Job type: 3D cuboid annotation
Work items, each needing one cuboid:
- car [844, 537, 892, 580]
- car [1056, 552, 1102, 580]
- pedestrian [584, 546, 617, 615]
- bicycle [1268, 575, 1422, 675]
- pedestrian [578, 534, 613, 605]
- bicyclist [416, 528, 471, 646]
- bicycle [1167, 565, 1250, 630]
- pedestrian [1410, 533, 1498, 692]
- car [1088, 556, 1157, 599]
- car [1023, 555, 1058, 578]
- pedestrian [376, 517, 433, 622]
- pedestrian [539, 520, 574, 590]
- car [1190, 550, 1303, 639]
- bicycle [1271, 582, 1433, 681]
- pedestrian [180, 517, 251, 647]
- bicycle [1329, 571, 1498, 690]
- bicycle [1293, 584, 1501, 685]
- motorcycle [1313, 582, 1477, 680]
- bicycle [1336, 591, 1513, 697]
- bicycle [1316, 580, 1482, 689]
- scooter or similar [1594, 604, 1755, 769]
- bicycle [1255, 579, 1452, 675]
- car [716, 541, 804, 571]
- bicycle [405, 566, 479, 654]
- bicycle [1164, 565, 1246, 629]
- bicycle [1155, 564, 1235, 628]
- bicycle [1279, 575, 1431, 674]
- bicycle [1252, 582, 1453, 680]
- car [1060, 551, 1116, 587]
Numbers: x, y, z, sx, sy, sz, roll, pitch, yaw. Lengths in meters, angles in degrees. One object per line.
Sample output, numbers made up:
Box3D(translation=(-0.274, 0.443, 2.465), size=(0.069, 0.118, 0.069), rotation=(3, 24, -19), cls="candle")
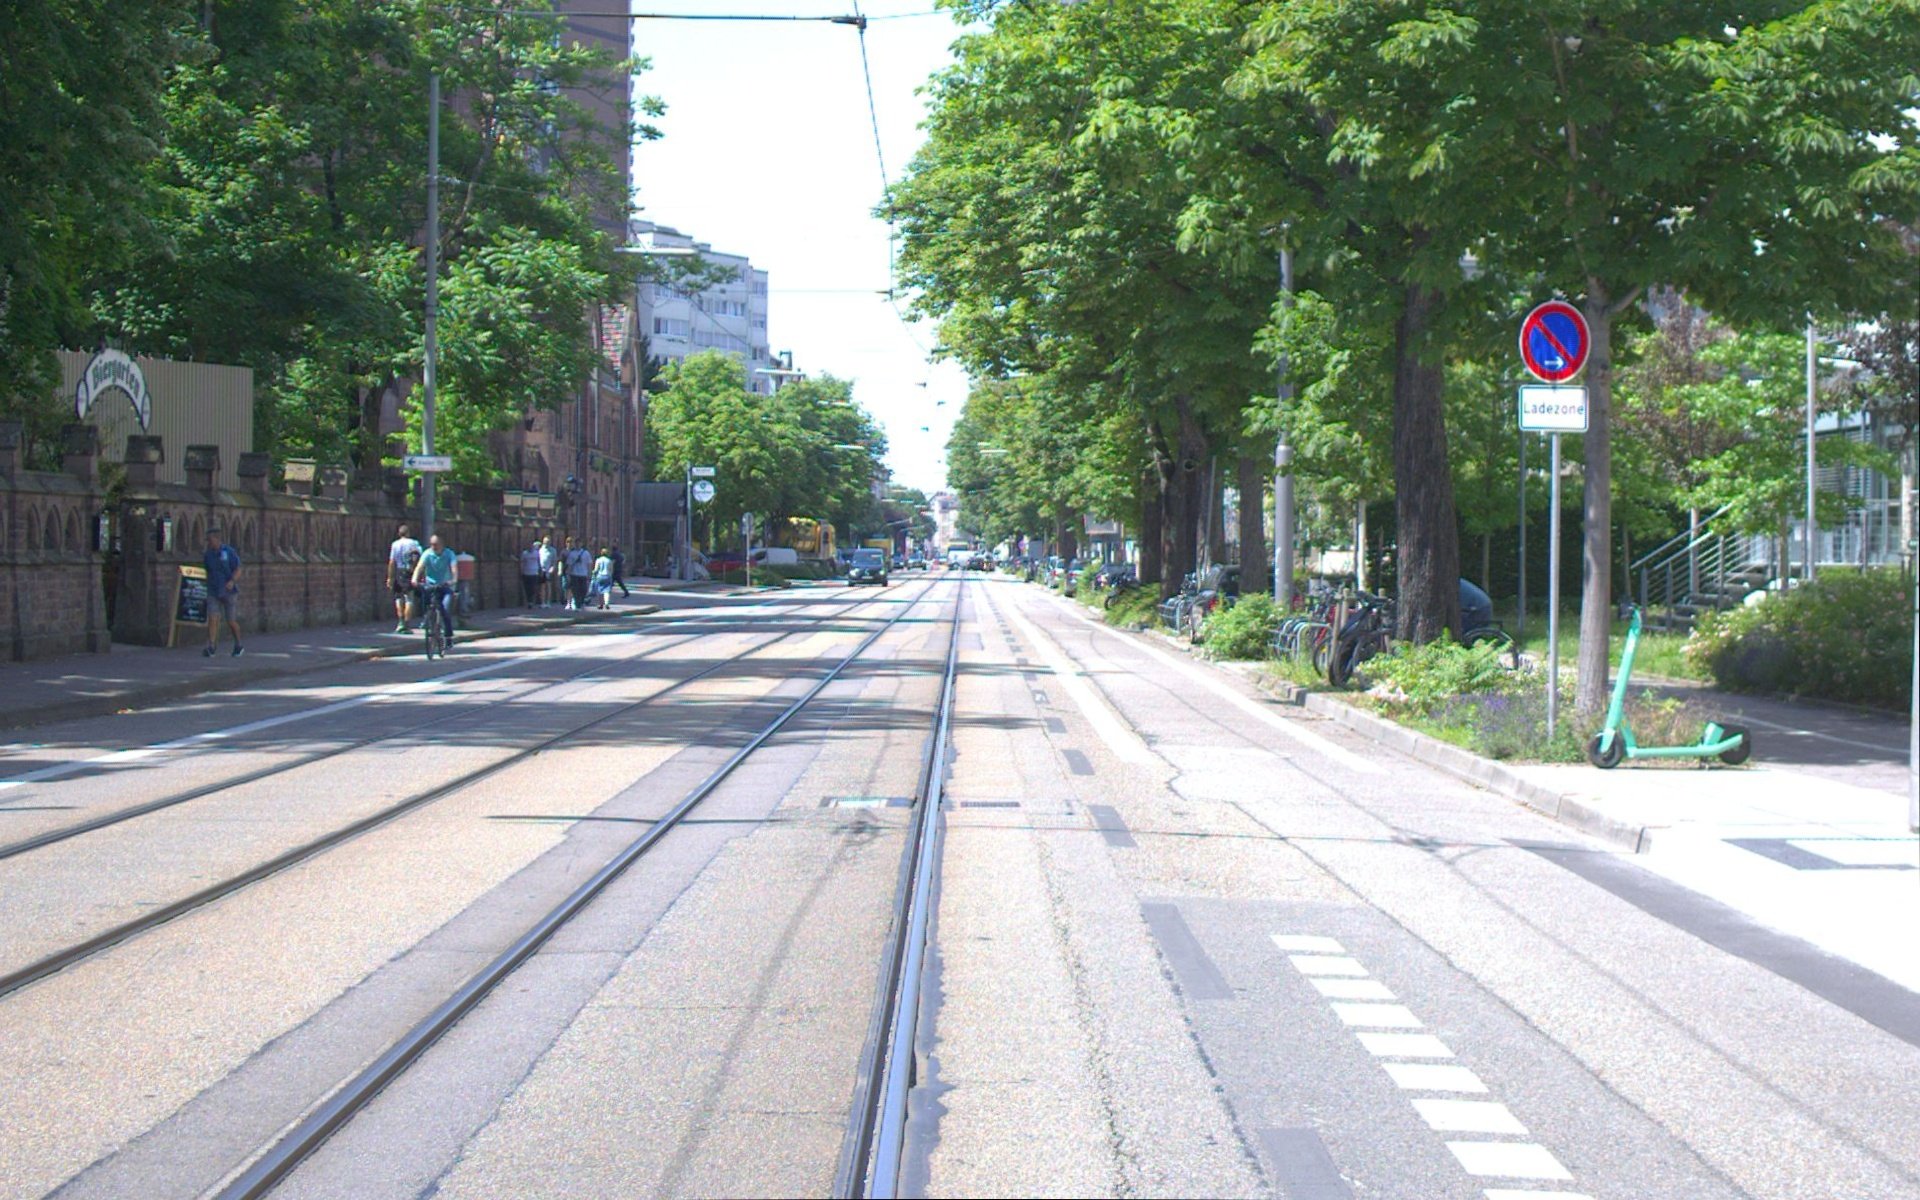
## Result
Box3D(translation=(-4.344, -1.972, 162.709), size=(1.994, 2.007, 4.000), rotation=(1, 1, 3), cls="car")
Box3D(translation=(5.589, -1.620, 161.962), size=(1.993, 1.305, 4.000), rotation=(1, 1, 0), cls="car")
Box3D(translation=(-9.189, -0.503, 87.961), size=(0.743, 1.722, 0.867), rotation=(1, 1, -1), cls="pedestrian")
Box3D(translation=(4.620, 0.296, 41.297), size=(1.752, 1.161, 0.530), rotation=(1, 1, -2), cls="bicycle")
Box3D(translation=(-8.948, -0.744, 84.420), size=(0.743, 1.722, 0.867), rotation=(1, 1, 0), cls="pedestrian")
Box3D(translation=(-7.407, -0.193, 49.341), size=(0.642, 1.674, 0.815), rotation=(0, 1, 1), cls="bicyclist")
Box3D(translation=(4.798, -0.043, 66.421), size=(1.564, 1.237, 0.437), rotation=(1, 1, 2), cls="bicycle")
Box3D(translation=(5.370, 0.127, 37.351), size=(0.584, 1.709, 0.796), rotation=(1, 1, 43), cls="pedestrian")
Box3D(translation=(5.160, -0.732, 109.779), size=(1.993, 1.305, 4.000), rotation=(1, 1, 0), cls="car")
Box3D(translation=(4.798, -2.005, 205.815), size=(1.993, 1.305, 4.000), rotation=(1, 1, 0), cls="car")
Box3D(translation=(-9.530, -0.529, 58.995), size=(0.814, 1.764, 0.924), rotation=(1, 1, 0), cls="pedestrian")
Box3D(translation=(-10.085, -1.131, 86.017), size=(0.743, 1.722, 0.867), rotation=(1, 1, 0), cls="pedestrian")
Box3D(translation=(5.013, -0.121, 60.517), size=(1.634, 1.496, 4.000), rotation=(1, 1, 0), cls="car")
Box3D(translation=(4.919, 0.388, 43.234), size=(1.997, 1.205, 0.662), rotation=(1, 1, 5), cls="bicycle")
Box3D(translation=(-10.071, -0.250, 46.531), size=(0.743, 1.722, 0.867), rotation=(1, 1, 0), cls="pedestrian")
Box3D(translation=(4.969, 0.334, 37.718), size=(1.752, 1.266, 0.530), rotation=(1, 1, -2), cls="bicycle")
Box3D(translation=(5.380, 0.421, 42.445), size=(2.511, 1.205, 0.648), rotation=(1, 1, 5), cls="bicycle")
Box3D(translation=(5.031, 0.350, 39.840), size=(1.824, 1.106, 0.598), rotation=(0, 1, 1), cls="motorcycle")
Box3D(translation=(4.931, 0.466, 36.554), size=(1.788, 1.098, 0.532), rotation=(1, 1, -1), cls="bicycle")
Box3D(translation=(4.884, 0.381, 38.275), size=(1.752, 1.161, 0.530), rotation=(1, 1, -2), cls="bicycle")
Box3D(translation=(5.082, 0.613, 24.479), size=(1.058, 1.152, 0.370), rotation=(-1, 1, 1), cls="scooter or similar")
Box3D(translation=(5.099, 0.348, 44.655), size=(2.511, 1.205, 0.741), rotation=(1, 1, 5), cls="bicycle")
Box3D(translation=(-11.639, -2.548, 200.296), size=(4.728, 1.711, 2.000), rotation=(0, 1, -27), cls="car")
Box3D(translation=(-7.407, 0.124, 49.243), size=(0.701, 1.200, 2.240), rotation=(-1, 1, 0), cls="bicycle")
Box3D(translation=(4.769, -0.060, 66.925), size=(1.564, 1.237, 0.437), rotation=(1, 1, 2), cls="bicycle")
Box3D(translation=(4.652, -0.084, 68.038), size=(1.564, 1.237, 0.437), rotation=(1, 1, 2), cls="bicycle")
Box3D(translation=(4.801, 0.295, 41.797), size=(1.752, 1.161, 0.530), rotation=(1, 1, -2), cls="bicycle")
Box3D(translation=(5.005, 0.388, 43.931), size=(2.511, 1.205, 0.622), rotation=(1, 1, 5), cls="bicycle")
Box3D(translation=(4.877, -1.198, 131.236), size=(1.993, 1.305, 4.000), rotation=(1, 1, 0), cls="car")
